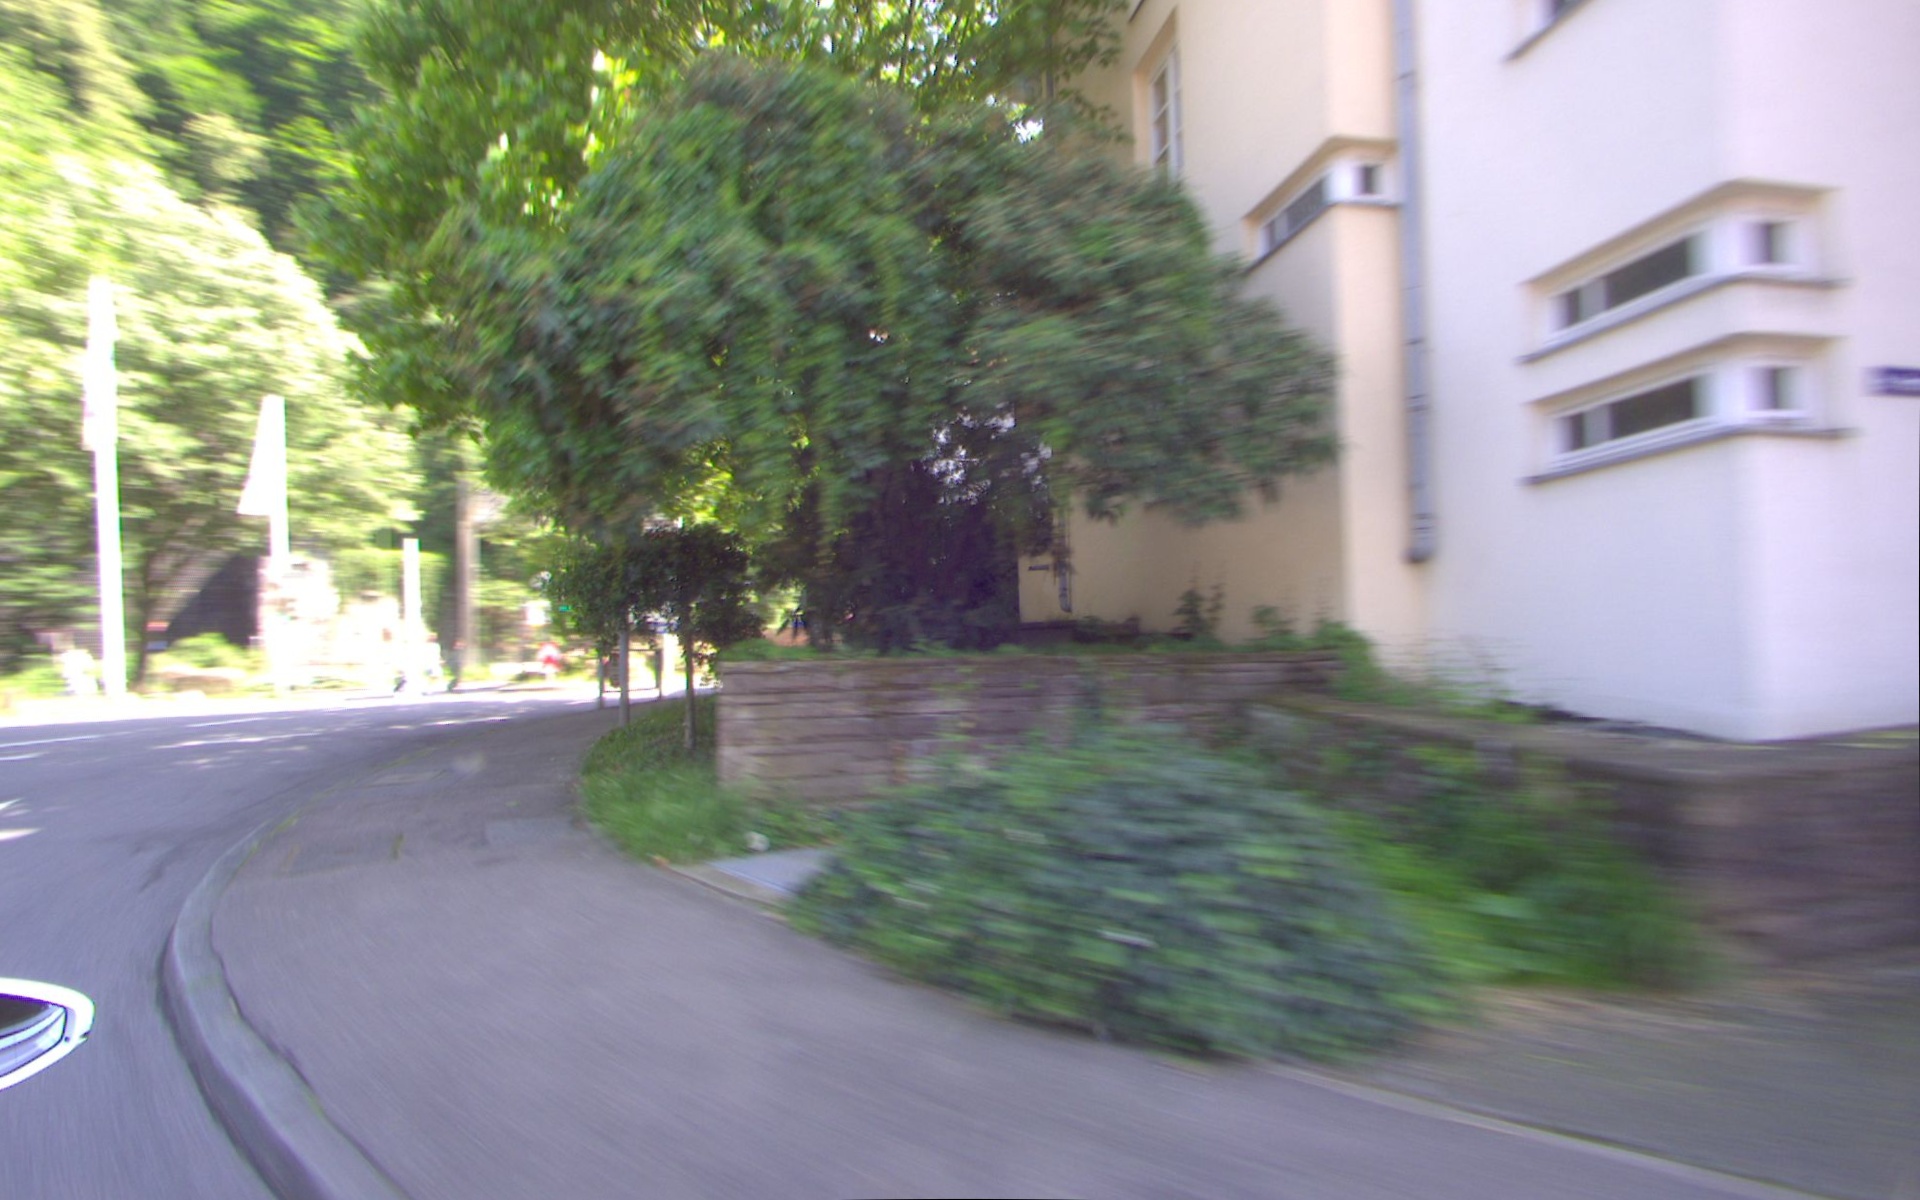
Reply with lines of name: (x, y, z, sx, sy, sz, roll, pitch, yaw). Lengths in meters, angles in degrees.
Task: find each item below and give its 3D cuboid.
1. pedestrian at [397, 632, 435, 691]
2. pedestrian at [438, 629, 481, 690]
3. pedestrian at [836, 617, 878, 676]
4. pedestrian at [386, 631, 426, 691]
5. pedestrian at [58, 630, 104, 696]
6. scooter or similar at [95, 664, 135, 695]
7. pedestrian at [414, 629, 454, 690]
pedestrian: (-16.745, 1.900, 30.838, 0.747, 1.777, 0.765, 0, -3, -4)
pedestrian: (-14.784, 1.763, 29.594, 0.850, 1.777, 0.803, 0, -3, -4)
pedestrian: (-3.397, 1.531, 33.049, 1.055, 1.919, 0.957, 0, -1, 20)
pedestrian: (-16.621, 1.826, 30.056, 0.747, 1.777, 0.765, 0, -3, -4)
pedestrian: (-24.168, 1.712, 27.548, 0.751, 1.778, 0.761, 1, -1, -27)
scooter or similar: (-23.507, 2.201, 27.855, 0.722, 0.823, 0.567, 1, -1, -27)
pedestrian: (-15.646, 1.769, 29.806, 0.747, 1.777, 0.765, 0, -3, -4)
